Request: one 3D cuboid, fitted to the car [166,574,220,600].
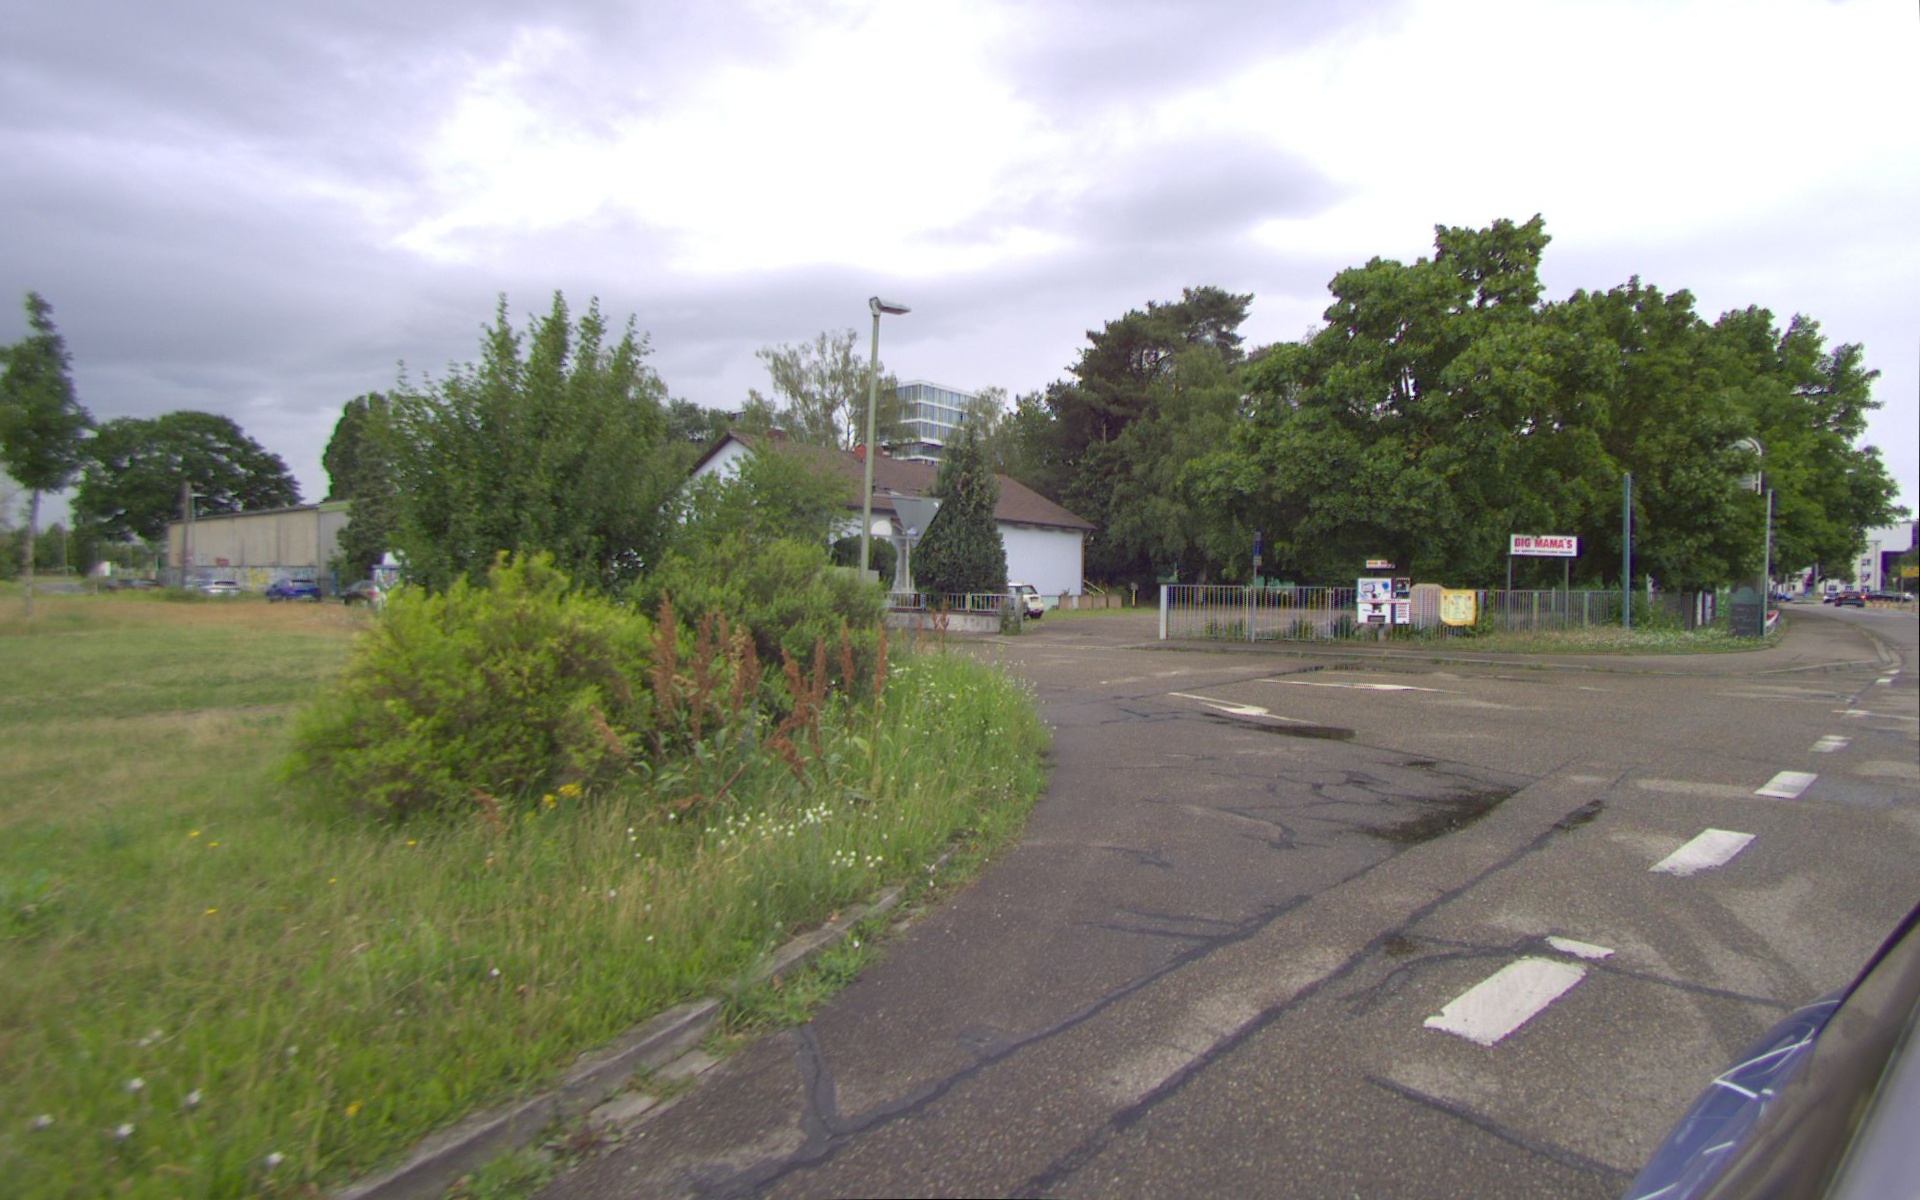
[{"bbox_3d":[-52.663,-0.889,69.471,4.359,1.594,1.971,2,-2,40],"label":"car"}]

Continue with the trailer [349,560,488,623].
[{"bbox_3d":[-14.524,-0.257,27.074,4.096,1.552,1.735,1,0,37],"label":"trailer"}]

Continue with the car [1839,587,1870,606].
[{"bbox_3d":[79.862,-0.288,90.420,1.878,1.586,4.296,1,0,39],"label":"car"}]

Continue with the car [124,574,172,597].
[{"bbox_3d":[-62.133,-1.153,77.399,4.507,1.594,1.971,2,-2,40],"label":"car"}]

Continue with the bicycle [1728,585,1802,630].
[{"bbox_3d":[20.882,0.186,26.240,1.912,1.125,0.799,0,1,-28],"label":"bicycle"}]

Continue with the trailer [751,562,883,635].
[{"bbox_3d":[-4.301,-0.069,30.178,3.979,2.039,1.620,1,0,39],"label":"trailer"}]

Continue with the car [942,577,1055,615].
[{"bbox_3d":[1.496,-0.181,40.505,4.280,1.405,1.811,1,1,37],"label":"car"}]

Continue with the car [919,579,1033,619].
[{"bbox_3d":[0.574,-0.063,38.135,3.973,1.428,1.846,1,1,34],"label":"car"}]

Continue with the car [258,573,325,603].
[{"bbox_3d":[-38.052,-0.690,57.554,4.264,1.594,1.971,2,-2,40],"label":"car"}]

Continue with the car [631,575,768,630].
[{"bbox_3d":[-8.557,0.043,33.046,4.570,1.660,1.972,1,0,39],"label":"car"}]

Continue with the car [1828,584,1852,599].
[{"bbox_3d":[103.555,-1.038,119.133,1.747,1.606,3.849,4,3,37],"label":"car"}]

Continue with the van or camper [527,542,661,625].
[{"bbox_3d":[-13.552,-0.614,37.369,5.156,2.868,2.381,1,0,40],"label":"van or camper"}]

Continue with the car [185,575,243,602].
[{"bbox_3d":[-48.340,-0.766,65.560,4.570,1.594,1.971,2,-2,40],"label":"car"}]
